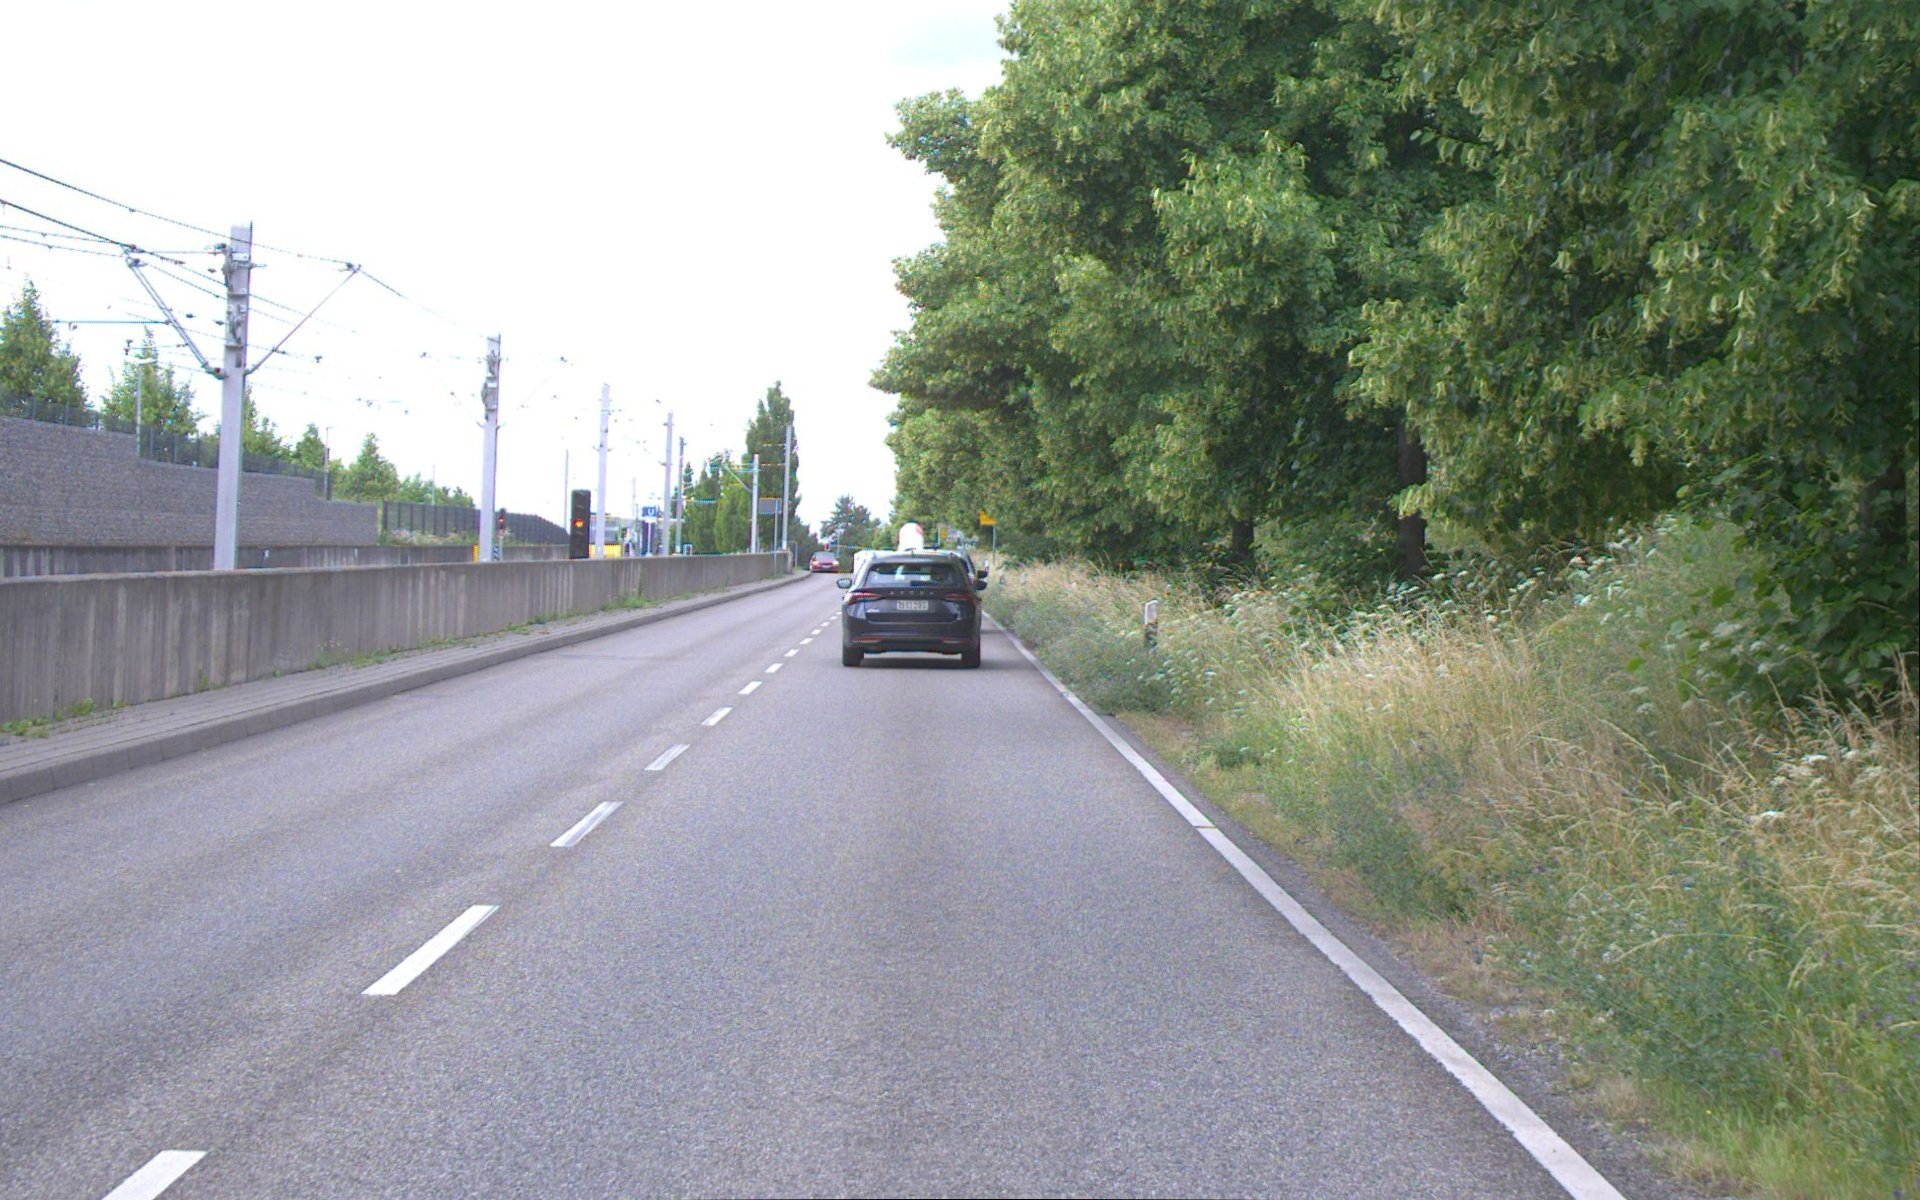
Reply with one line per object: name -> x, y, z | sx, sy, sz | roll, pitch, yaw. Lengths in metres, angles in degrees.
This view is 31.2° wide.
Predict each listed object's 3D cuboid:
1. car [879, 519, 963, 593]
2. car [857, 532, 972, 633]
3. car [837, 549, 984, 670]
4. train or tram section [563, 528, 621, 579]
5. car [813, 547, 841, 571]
car -> -0.947, -1.064, 83.938 | 1.993, 1.734, 4.000 | 1, 0, -1
car -> -0.823, -0.340, 62.267 | 1.993, 1.747, 4.000 | 1, 1, -1
car -> -0.631, 0.083, 44.230 | 1.781, 1.463, 4.000 | 1, 1, -1
train or tram section -> -24.199, -2.970, 225.310 | 2.811, 3.106, 18.920 | 1, 0, -9
car -> -8.562, -2.641, 221.581 | 1.662, 1.540, 3.953 | 0, 1, -1
